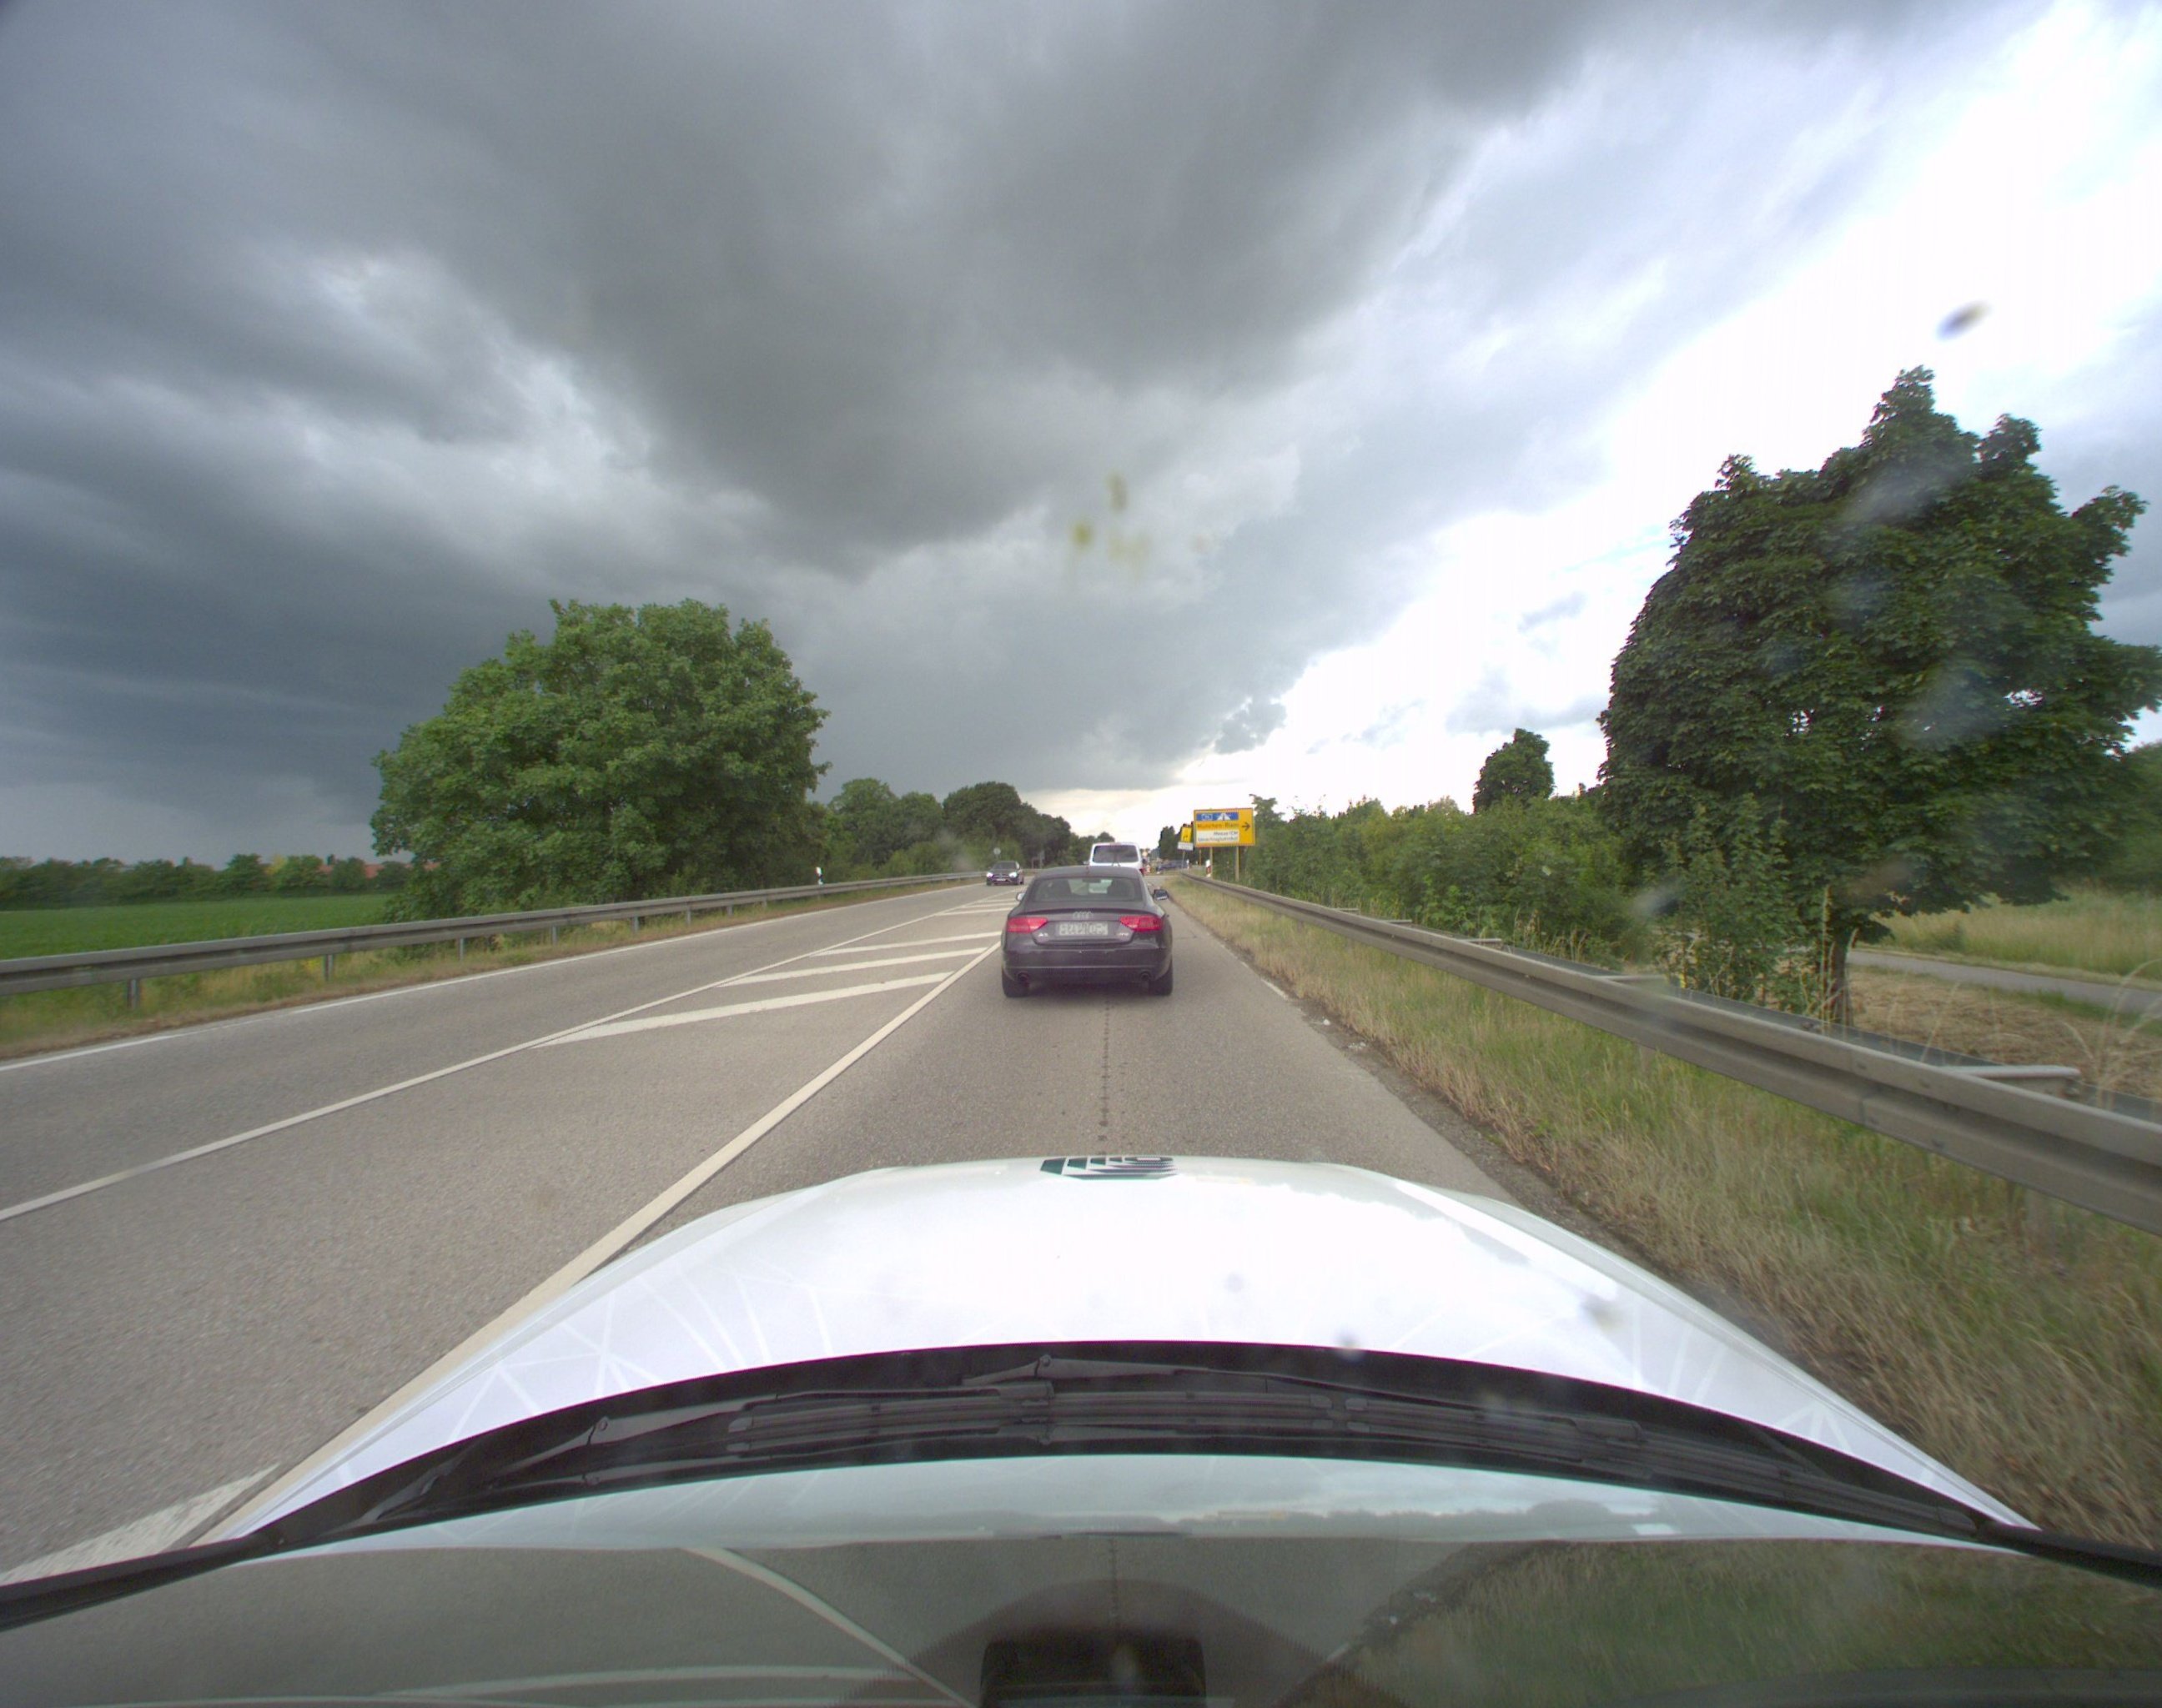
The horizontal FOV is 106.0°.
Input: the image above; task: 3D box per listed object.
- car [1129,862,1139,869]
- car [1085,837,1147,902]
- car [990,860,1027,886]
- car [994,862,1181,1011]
[{"bbox_3d":[12.095,2.549,187.094,2.197,1.582,4.381,-1,0,2],"label":"car"},{"bbox_3d":[1.168,0.498,27.373,1.903,2.013,4.002,-1,0,2],"label":"car"},{"bbox_3d":[-4.233,1.080,48.203,1.616,1.379,4.514,-1,0,2],"label":"car"},{"bbox_3d":[0.111,0.805,9.482,1.773,1.399,3.337,-1,-1,2],"label":"car"}]
